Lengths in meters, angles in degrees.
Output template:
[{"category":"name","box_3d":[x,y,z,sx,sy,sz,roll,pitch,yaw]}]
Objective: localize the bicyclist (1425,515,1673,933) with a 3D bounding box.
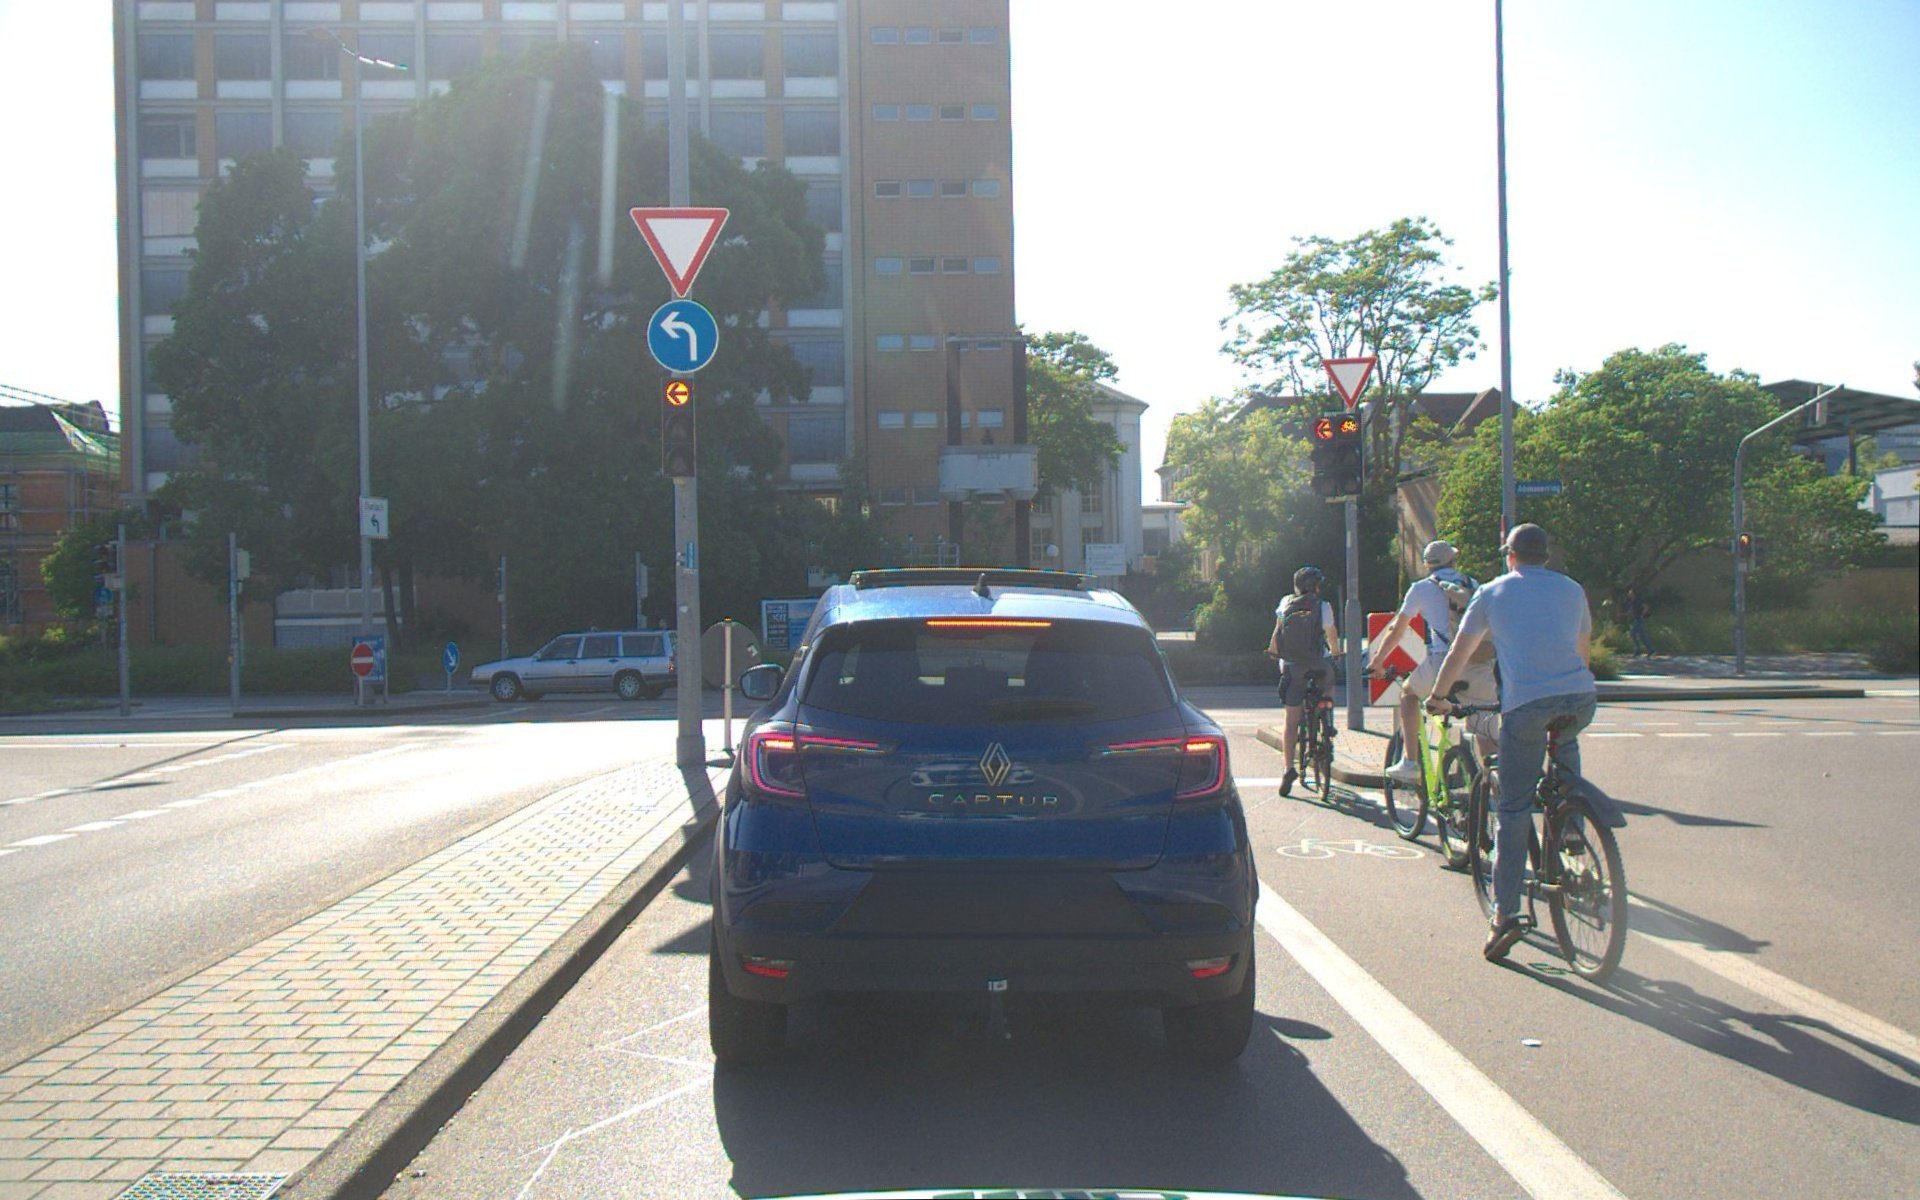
[{"category":"bicyclist","box_3d":[2.546,0.506,7.235,0.725,1.703,0.865,-1,0,-3]}]

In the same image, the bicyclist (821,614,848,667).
[{"category":"bicyclist","box_3d":[-3.455,1.098,45.505,0.623,1.437,0.649,-1,0,4]}]

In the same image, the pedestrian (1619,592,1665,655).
[{"category":"pedestrian","box_3d":[17.957,0.620,43.560,0.960,1.632,0.827,-1,0,13]}]

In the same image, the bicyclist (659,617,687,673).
[{"category":"bicyclist","box_3d":[-7.589,1.198,43.692,0.637,1.437,0.635,-1,-3,-17]}]

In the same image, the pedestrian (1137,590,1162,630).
[{"category":"pedestrian","box_3d":[9.749,0.520,85.130,1.132,2.049,1.164,-1,0,-1]}]

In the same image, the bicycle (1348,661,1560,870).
[{"category":"bicycle","box_3d":[2.914,0.938,9.947,0.657,1.069,1.843,1,0,-2]}]

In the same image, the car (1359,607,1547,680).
[{"category":"car","box_3d":[10.872,0.982,36.731,3.870,1.517,1.812,-1,-2,13]}]

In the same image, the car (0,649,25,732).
[{"category":"car","box_3d":[-18.667,1.655,28.655,3.902,1.414,2.002,-2,0,11]}]

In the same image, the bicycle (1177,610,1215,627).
[{"category":"bicycle","box_3d":[11.859,0.928,83.207,1.739,0.837,0.763,-1,0,-11]}]

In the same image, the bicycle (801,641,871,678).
[{"category":"bicycle","box_3d":[-3.404,1.626,45.508,1.826,0.975,0.624,-1,0,4]}]

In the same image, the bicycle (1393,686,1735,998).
[{"category":"bicycle","box_3d":[2.560,0.973,7.274,0.732,1.069,1.902,-1,0,-2]}]

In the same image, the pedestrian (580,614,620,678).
[{"category":"pedestrian","box_3d":[-10.695,1.359,49.157,0.912,1.888,0.808,-1,0,8]}]

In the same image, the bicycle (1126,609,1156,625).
[{"category":"bicycle","box_3d":[10.858,1.011,99.357,1.735,0.908,0.765,-1,0,-1]}]

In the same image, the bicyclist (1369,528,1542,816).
[{"category":"bicyclist","box_3d":[2.929,0.409,9.864,0.660,1.610,1.081,1,0,-2]}]

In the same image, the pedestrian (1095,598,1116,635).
[{"category":"pedestrian","box_3d":[8.233,0.949,93.621,1.126,2.049,0.952,-1,0,6]}]

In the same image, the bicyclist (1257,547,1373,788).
[{"category":"bicyclist","box_3d":[2.783,0.517,13.043,0.663,1.816,0.939,1,-1,-2]}]

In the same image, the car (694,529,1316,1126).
[{"category":"car","box_3d":[0.078,0.641,6.633,1.758,1.684,3.852,1,0,-2]}]

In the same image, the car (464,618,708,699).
[{"category":"car","box_3d":[-8.066,1.258,35.895,4.760,1.621,1.939,-1,0,6]}]

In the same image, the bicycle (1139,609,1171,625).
[{"category":"bicycle","box_3d":[11.203,0.980,94.998,1.735,0.914,0.765,-1,0,-1]}]

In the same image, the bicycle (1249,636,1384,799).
[{"category":"bicycle","box_3d":[2.791,0.885,13.114,0.602,1.158,1.825,0,0,-2]}]
